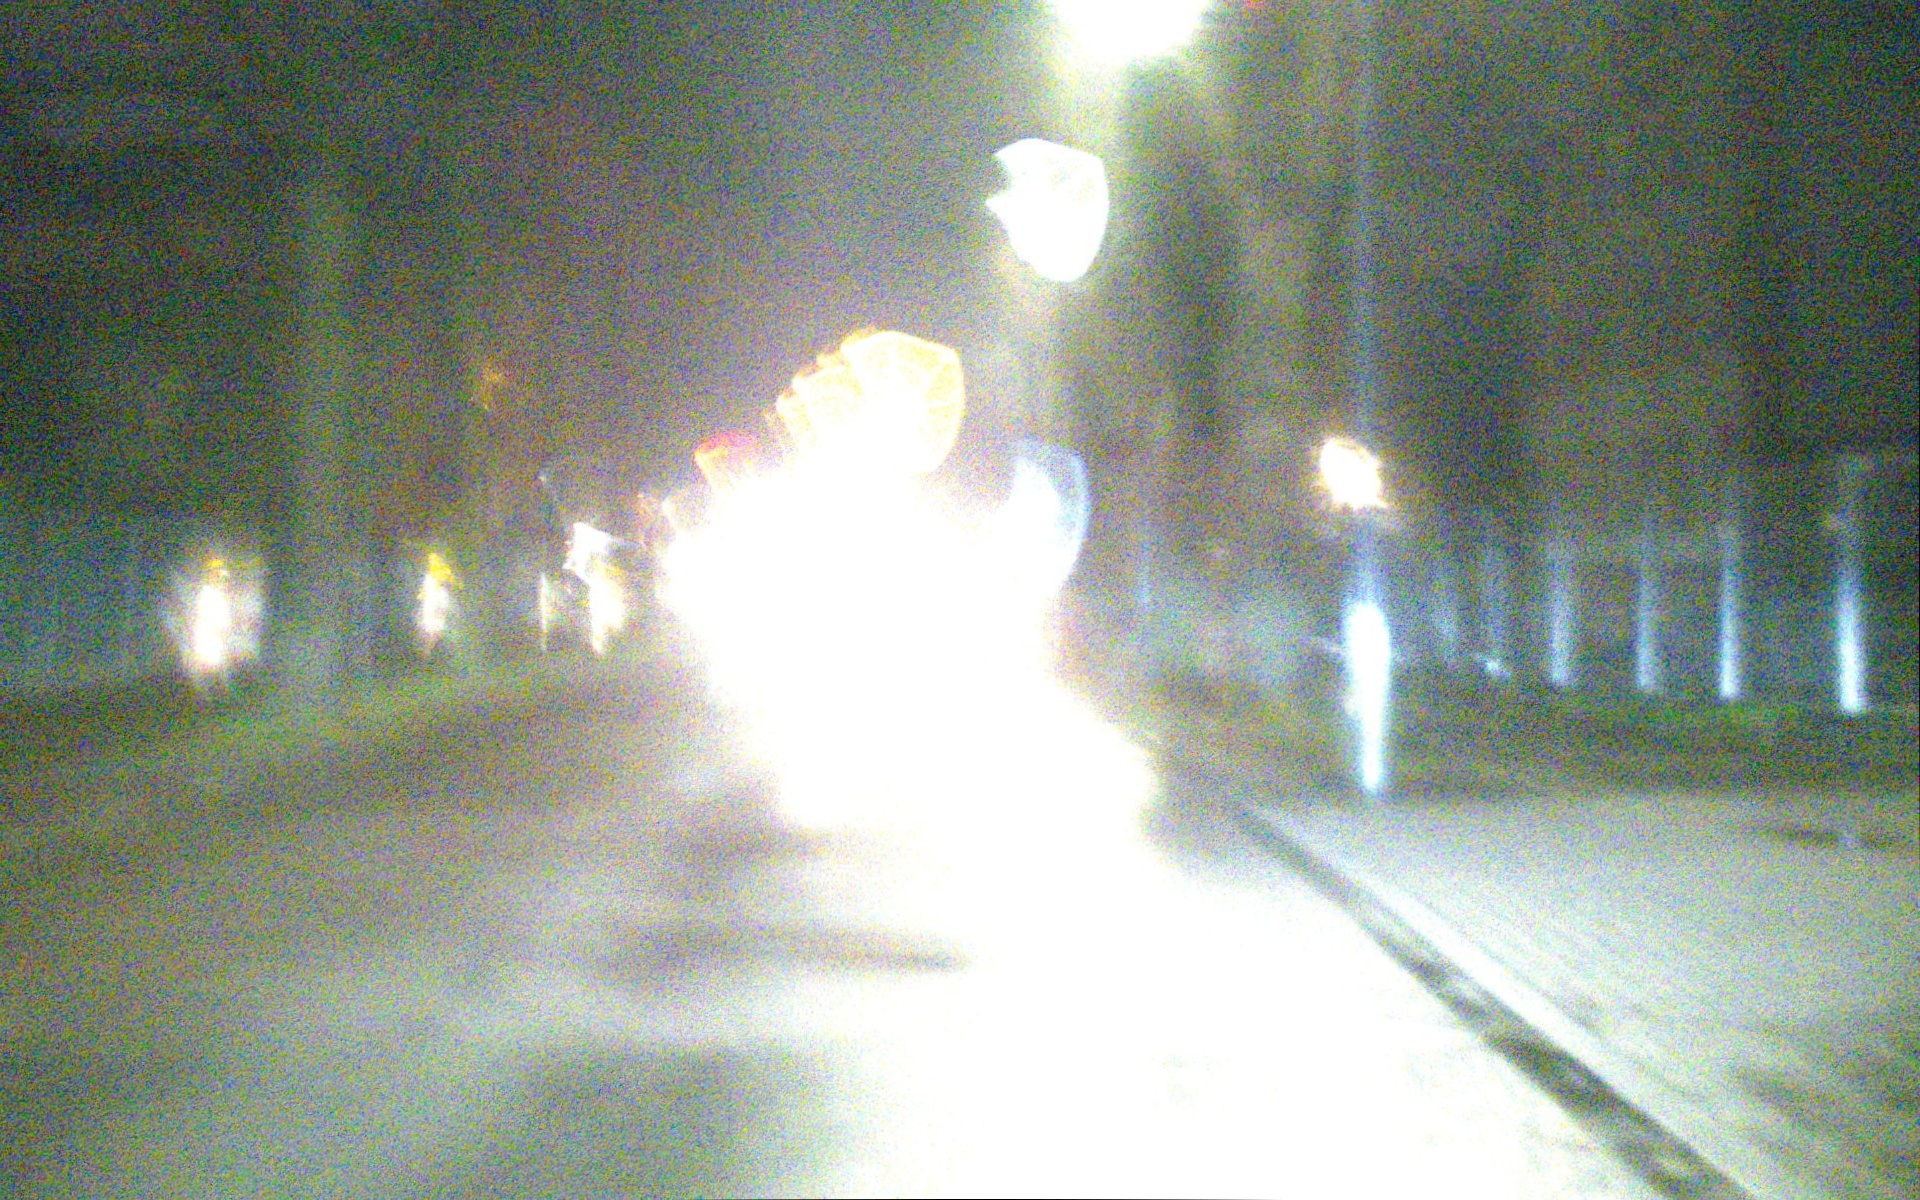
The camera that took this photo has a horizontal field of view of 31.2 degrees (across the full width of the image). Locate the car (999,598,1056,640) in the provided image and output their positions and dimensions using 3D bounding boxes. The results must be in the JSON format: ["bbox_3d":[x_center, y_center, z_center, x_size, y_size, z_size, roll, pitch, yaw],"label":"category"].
[{"bbox_3d":[2.443,0.675,125.398,1.713,1.484,4.437,-1,0,-3],"label":"car"}]

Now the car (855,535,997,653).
[{"bbox_3d":[-0.560,-0.126,52.367,1.993,1.678,4.001,1,1,-3],"label":"car"}]
